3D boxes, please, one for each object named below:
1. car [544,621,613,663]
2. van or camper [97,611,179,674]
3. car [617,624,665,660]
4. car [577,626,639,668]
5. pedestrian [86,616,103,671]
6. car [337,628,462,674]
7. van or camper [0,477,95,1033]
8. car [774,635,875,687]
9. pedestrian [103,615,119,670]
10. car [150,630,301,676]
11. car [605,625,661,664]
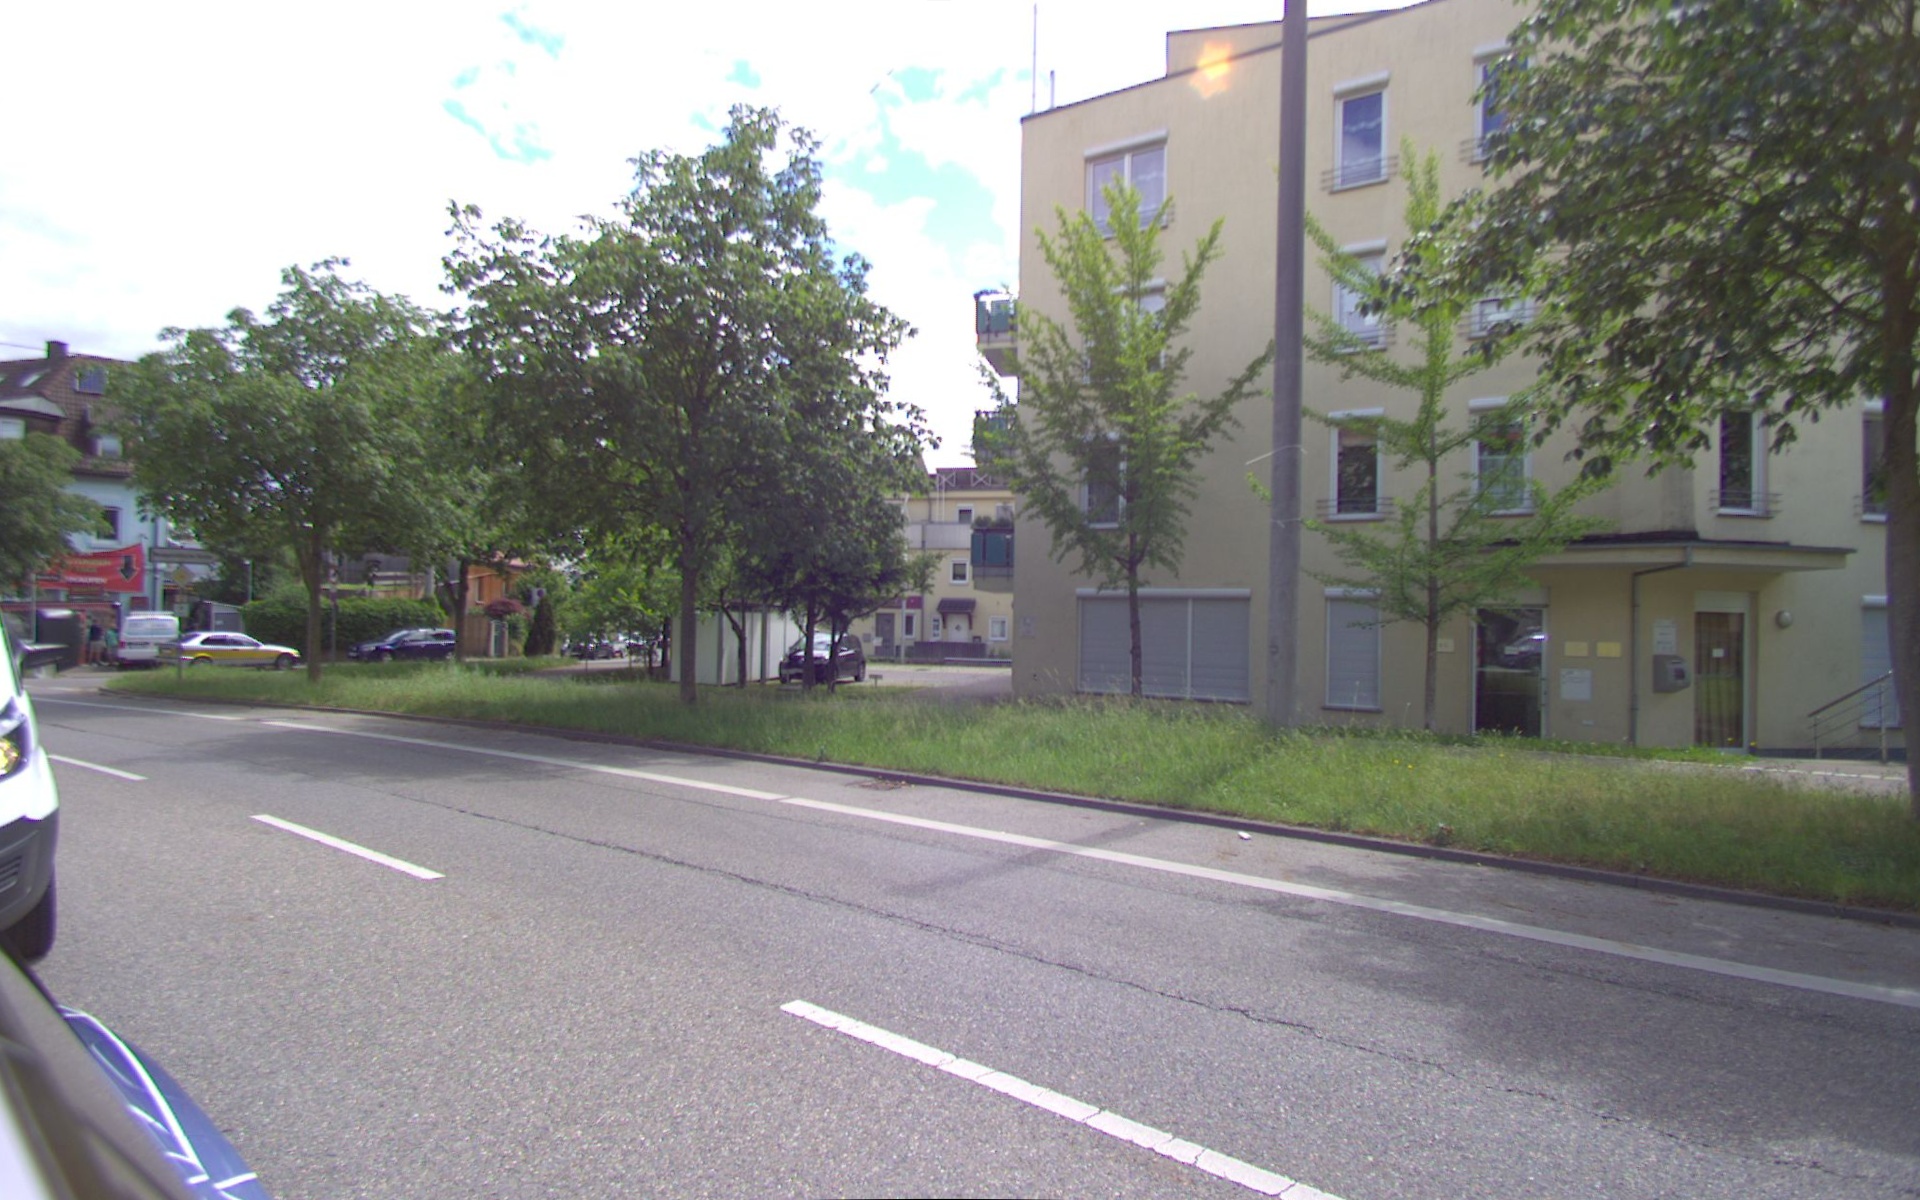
[{"bbox_3d":[-19.171,2.102,51.051,1.954,2.029,3.999,0,-2,1],"label":"car"},{"bbox_3d":[-29.751,1.467,36.600,3.811,2.105,1.770,0,0,43],"label":"van or camper"},{"bbox_3d":[-20.087,2.629,63.935,1.870,2.029,4.002,-1,0,-2],"label":"car"},{"bbox_3d":[-19.119,2.511,55.165,1.972,2.029,3.999,-1,0,0],"label":"car"},{"bbox_3d":[-31.921,1.601,37.331,0.363,2.029,0.419,-1,0,41],"label":"pedestrian"},{"bbox_3d":[-21.894,1.968,39.672,1.715,1.695,3.928,0,-2,37],"label":"car"},{"bbox_3d":[-5.930,0.592,4.784,5.099,2.029,2.001,-1,-3,41],"label":"van or camper"},{"bbox_3d":[-3.899,1.814,29.835,1.774,1.431,3.985,-1,-4,11],"label":"car"},{"bbox_3d":[-31.638,1.575,37.707,0.443,2.005,0.378,-1,0,41],"label":"pedestrian"},{"bbox_3d":[-25.611,1.813,35.430,1.529,1.332,4.008,-1,0,27],"label":"car"},{"bbox_3d":[-19.112,2.563,59.282,1.972,2.029,4.000,-1,0,0],"label":"car"}]
